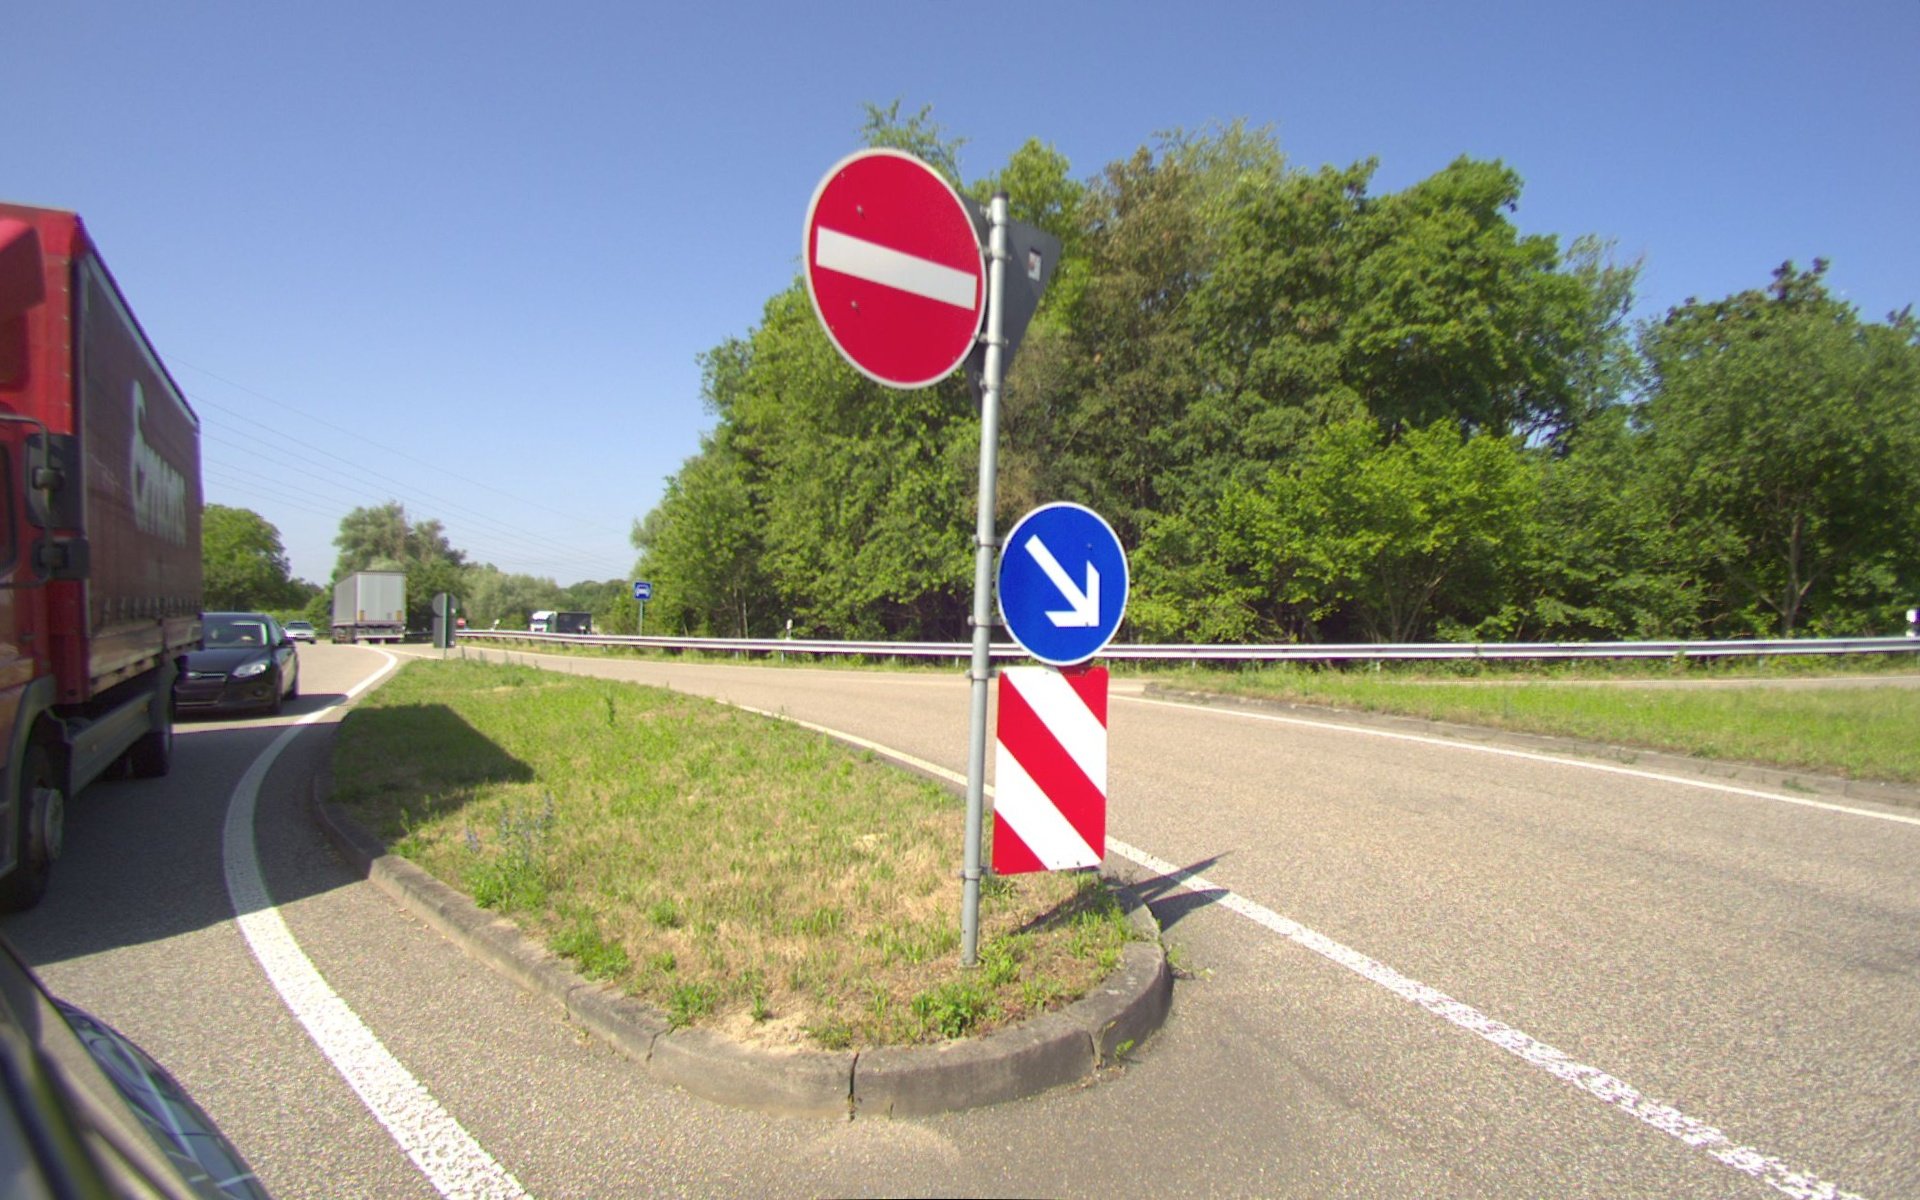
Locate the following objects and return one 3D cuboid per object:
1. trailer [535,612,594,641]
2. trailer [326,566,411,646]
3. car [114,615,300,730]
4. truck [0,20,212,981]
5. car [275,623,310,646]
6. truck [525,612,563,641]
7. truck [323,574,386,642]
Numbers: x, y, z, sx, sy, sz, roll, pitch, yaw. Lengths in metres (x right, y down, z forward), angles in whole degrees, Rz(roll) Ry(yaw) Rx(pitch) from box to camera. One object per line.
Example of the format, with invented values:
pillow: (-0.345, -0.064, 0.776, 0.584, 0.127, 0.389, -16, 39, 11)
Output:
trailer: (-61.863, 4.275, 158.940, 2.893, 4.272, 13.963, 2, -2, 4)
trailer: (-35.930, 0.506, 61.161, 2.911, 4.300, 14.013, 3, -3, -36)
car: (-10.936, 0.953, 14.971, 1.758, 1.425, 4.012, 0, -1, -30)
truck: (-7.241, -0.321, 7.094, 2.646, 3.689, 9.287, 0, -1, -33)
car: (-41.691, 2.130, 63.232, 1.758, 1.396, 4.390, 1, -2, -34)
truck: (-62.326, 4.010, 151.748, 2.903, 4.270, 5.725, 1, -2, 4)
truck: (-39.927, 0.583, 66.677, 2.892, 4.279, 5.746, 3, -3, -36)
